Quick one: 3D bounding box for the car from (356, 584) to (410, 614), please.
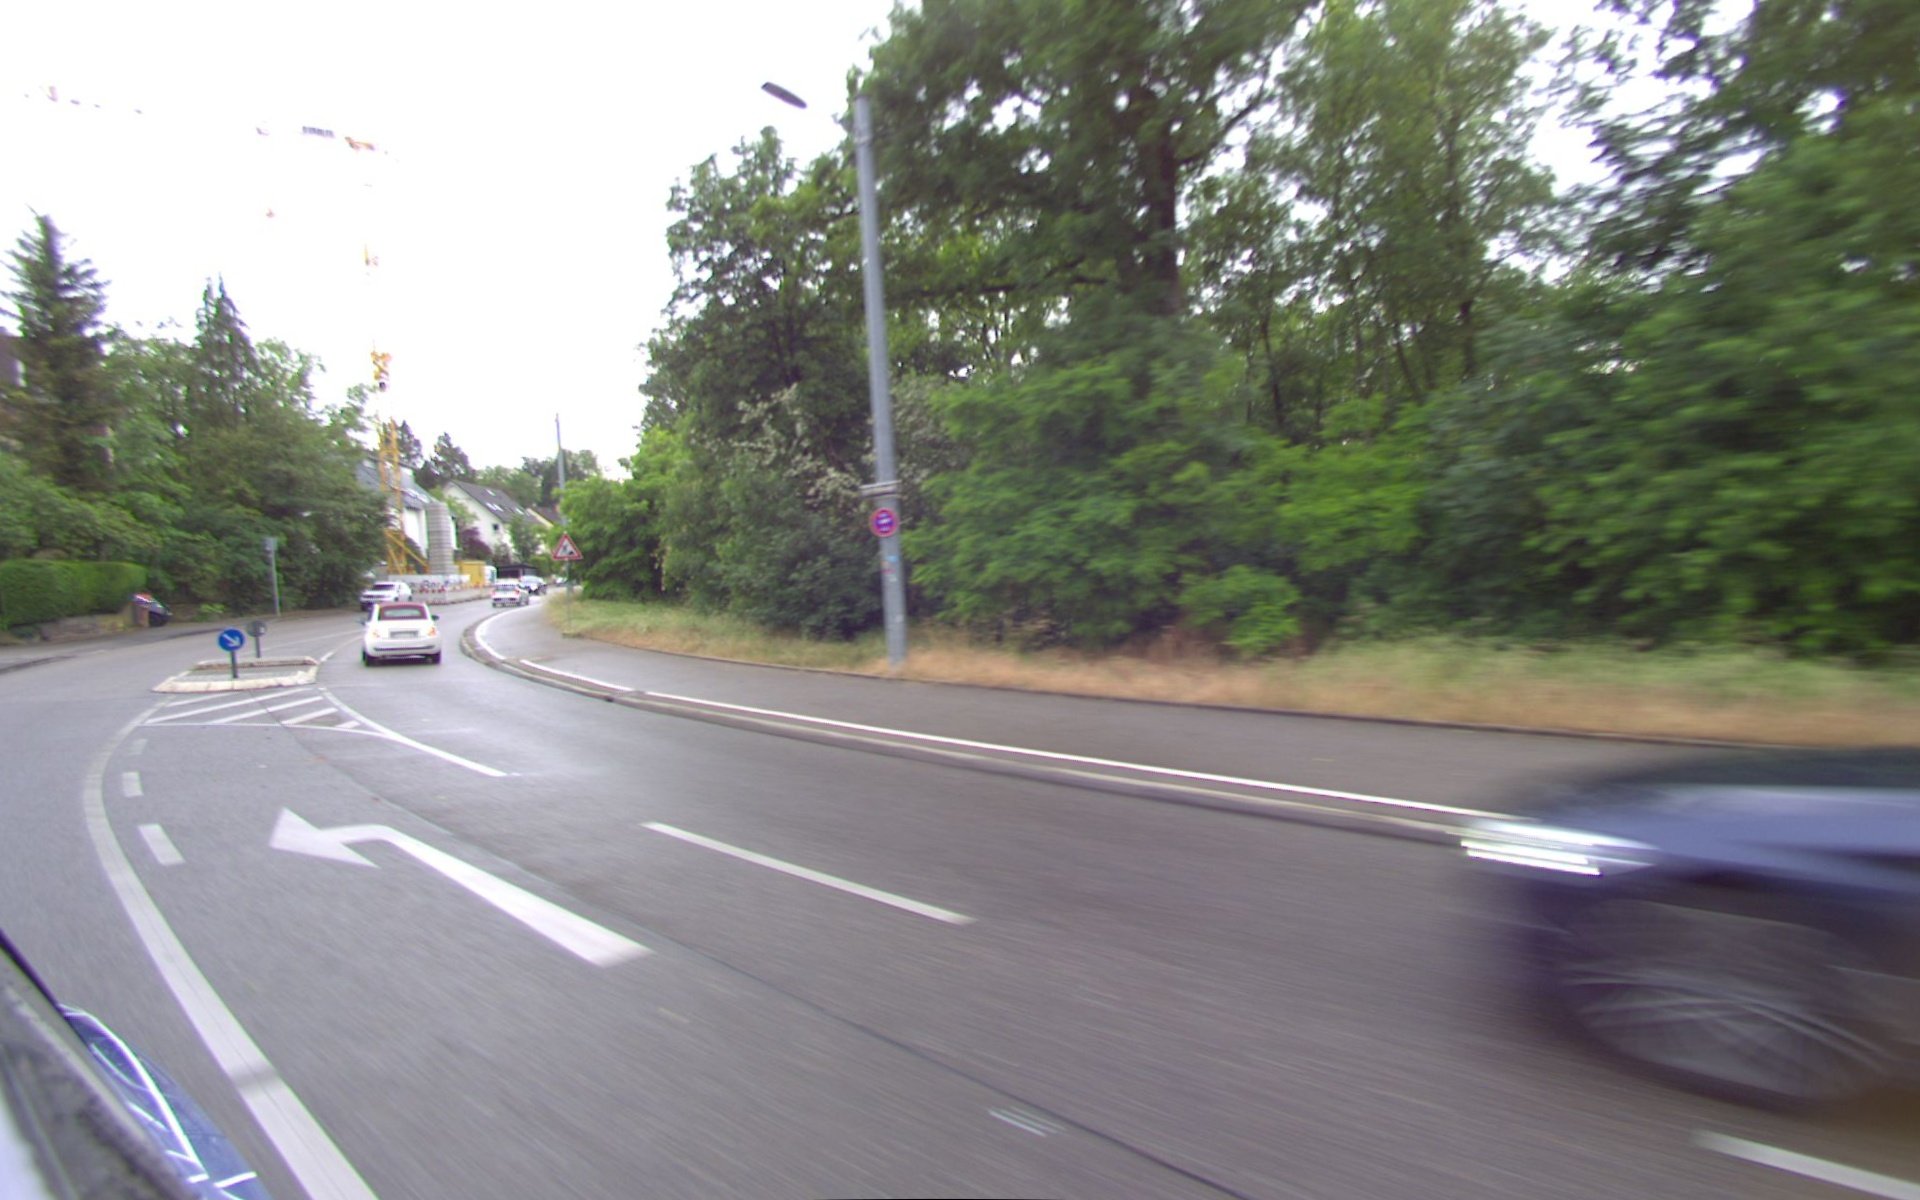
[{"bbox_3d":[-33.378,-0.106,58.649,1.802,1.607,4.012,0,2,-16],"label":"car"}]

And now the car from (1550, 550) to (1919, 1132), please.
[{"bbox_3d":[4.192,0.623,2.336,4.630,1.512,1.827,-1,-1,42],"label":"car"}]

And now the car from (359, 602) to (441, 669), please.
[{"bbox_3d":[-13.889,0.805,25.014,1.545,1.488,3.678,-1,1,-32],"label":"car"}]

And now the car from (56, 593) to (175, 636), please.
[{"bbox_3d":[-35.265,0.584,42.354,3.429,1.422,1.432,-6,3,-23],"label":"car"}]

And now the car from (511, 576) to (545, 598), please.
[{"bbox_3d":[-35.494,-1.062,83.154,1.966,1.730,4.011,-1,0,-15],"label":"car"}]

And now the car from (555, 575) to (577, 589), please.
[{"bbox_3d":[-44.860,-2.043,115.284,1.709,1.501,4.011,-1,2,-13],"label":"car"}]

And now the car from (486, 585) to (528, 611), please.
[{"bbox_3d":[-27.744,-0.148,62.031,1.610,1.465,3.812,-2,2,-13],"label":"car"}]
